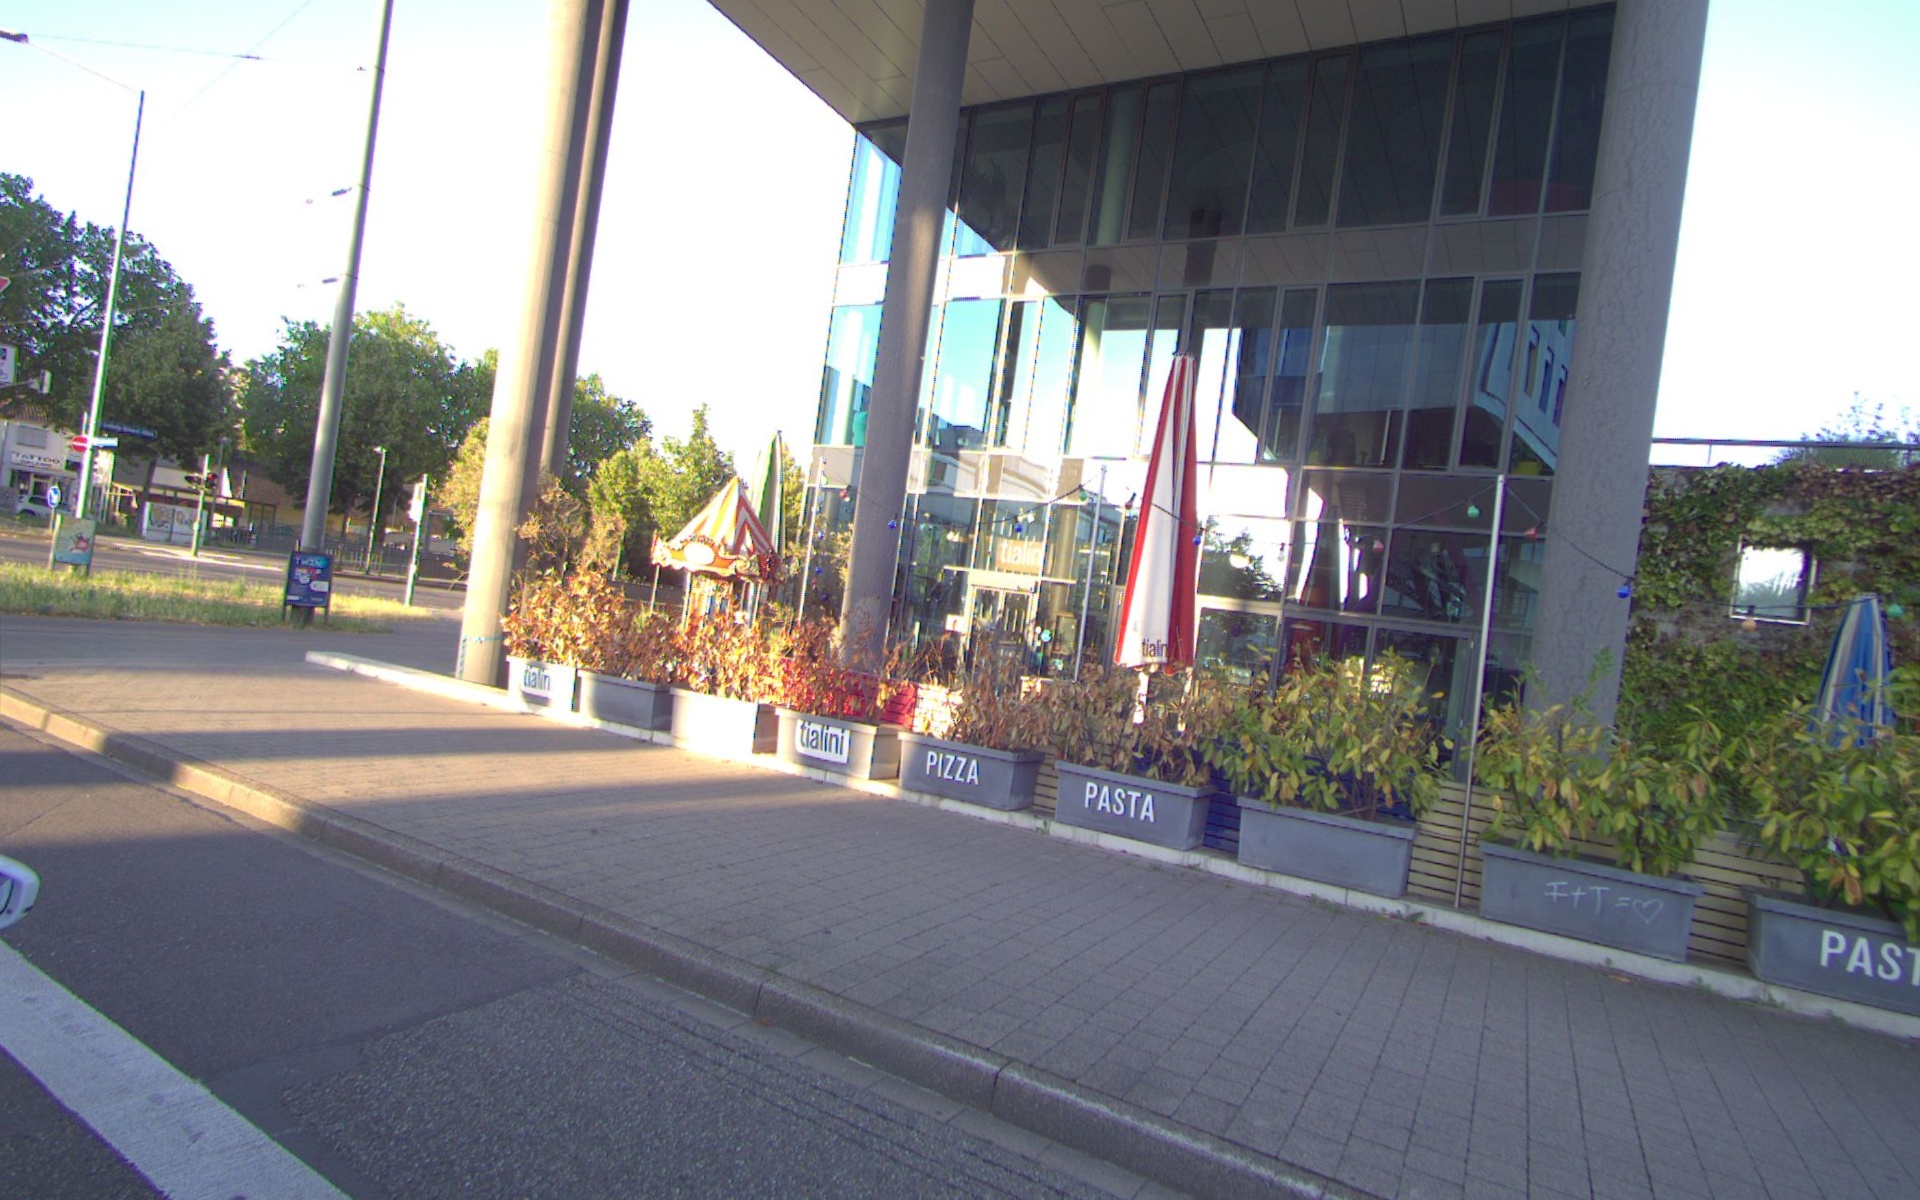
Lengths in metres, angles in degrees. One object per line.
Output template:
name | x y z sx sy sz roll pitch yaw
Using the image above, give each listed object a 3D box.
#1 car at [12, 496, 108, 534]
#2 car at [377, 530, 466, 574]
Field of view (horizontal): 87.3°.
car | -50.253 -4.745 56.190 1.641 1.456 3.736 6 -2 41
car | -42.549 -3.753 79.567 2.197 2.581 5.594 7 -2 39
